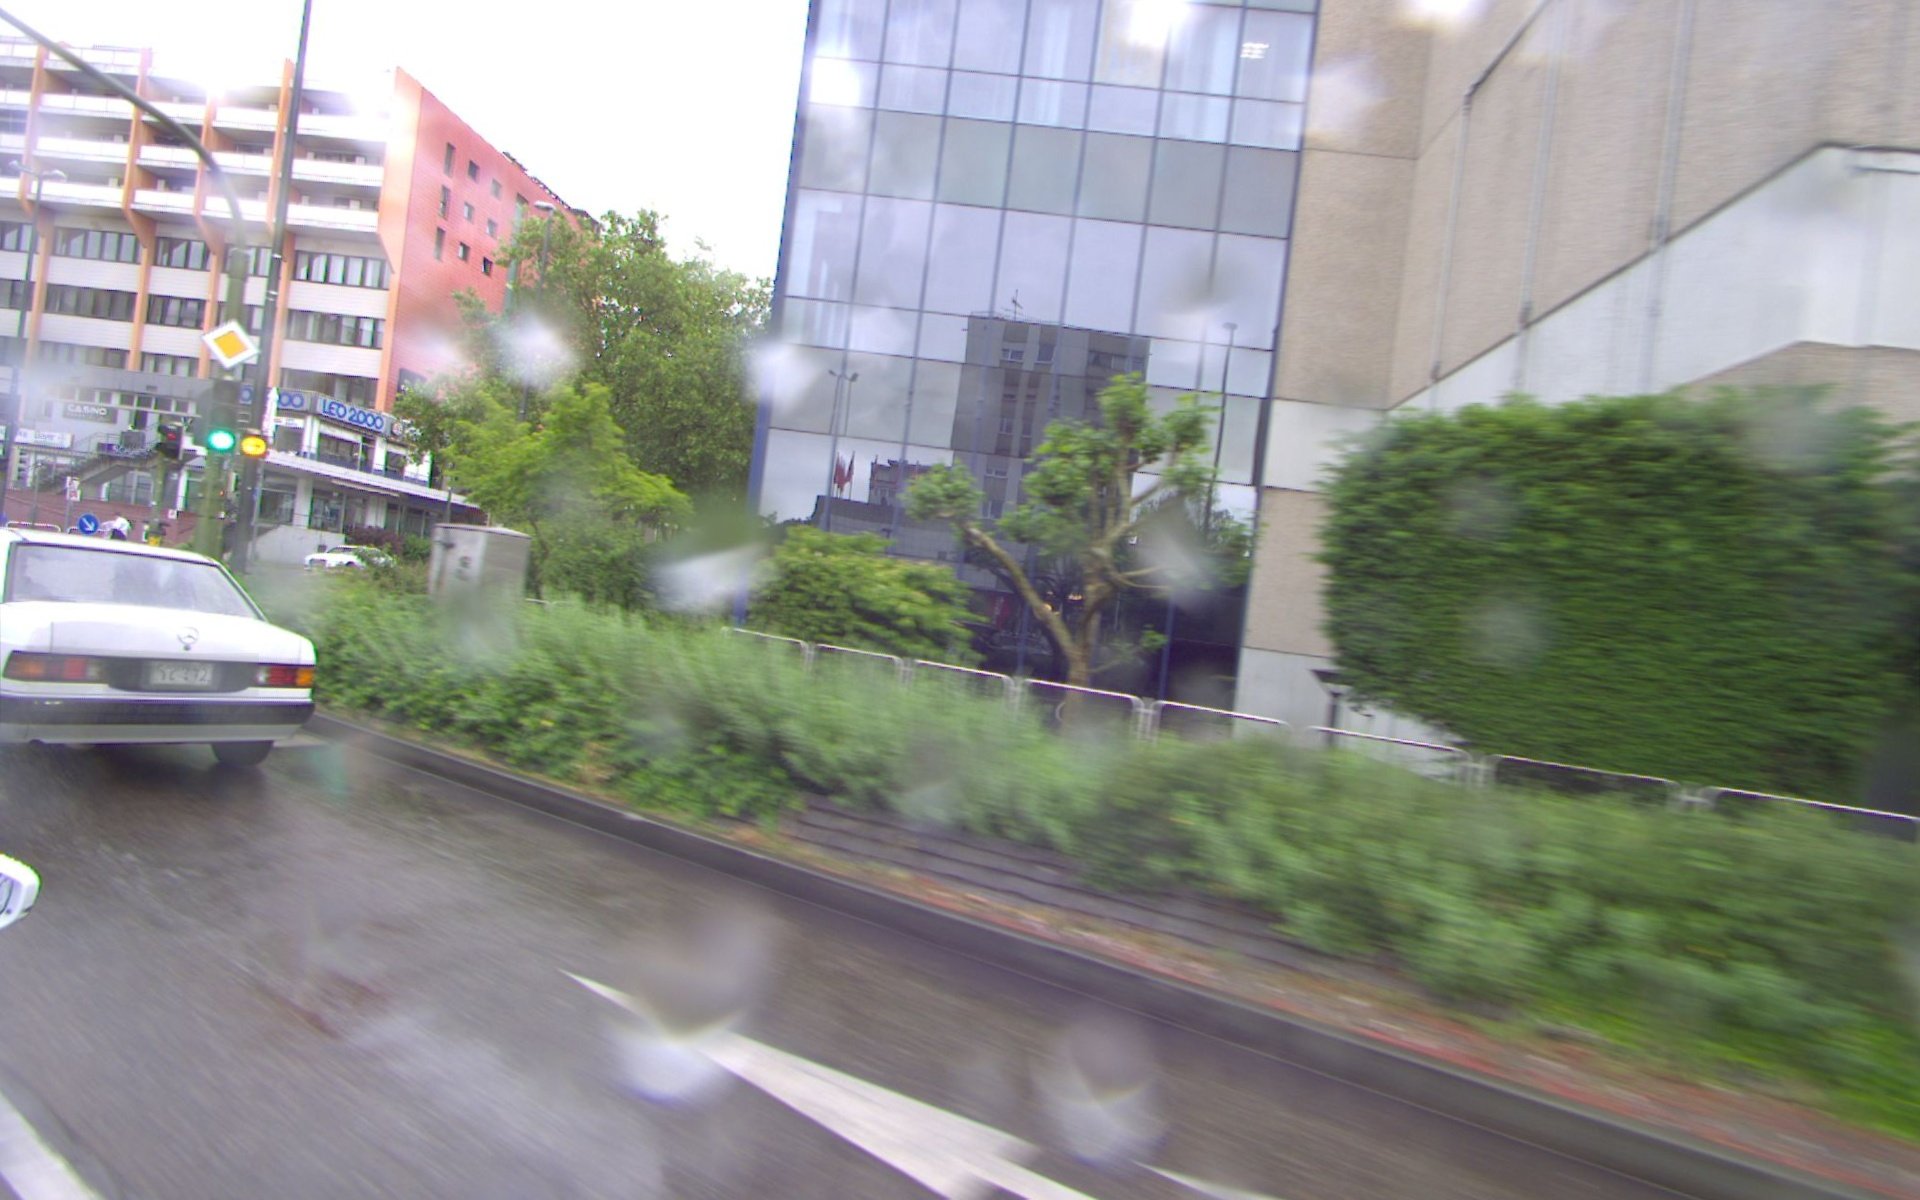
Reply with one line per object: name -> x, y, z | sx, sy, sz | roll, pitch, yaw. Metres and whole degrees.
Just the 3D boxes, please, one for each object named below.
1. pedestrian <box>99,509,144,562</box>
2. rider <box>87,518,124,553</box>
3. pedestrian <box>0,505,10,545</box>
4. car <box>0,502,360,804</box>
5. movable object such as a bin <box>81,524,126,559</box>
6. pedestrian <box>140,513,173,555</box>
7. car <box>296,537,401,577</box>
pedestrian -> -29.664, -2.280, 35.594 | 1.111, 1.711, 0.828 | 6, 0, 35
rider -> -35.745, -2.698, 42.075 | 1.074, 1.302, 0.921 | 7, 3, 37
pedestrian -> -34.272, -2.696, 35.668 | 0.646, 1.362, 0.706 | 5, 0, 41
car -> -6.004, 0.191, 6.660 | 4.199, 1.464, 1.637 | 5, -3, 32
movable object such as a bin -> -35.869, -2.452, 42.107 | 1.433, 1.349, 1.128 | 2, 0, 37
pedestrian -> -34.778, -2.862, 43.550 | 0.917, 1.689, 0.793 | 6, 0, 38
car -> -28.734, -1.966, 47.451 | 1.778, 1.423, 4.792 | 5, -1, 3
